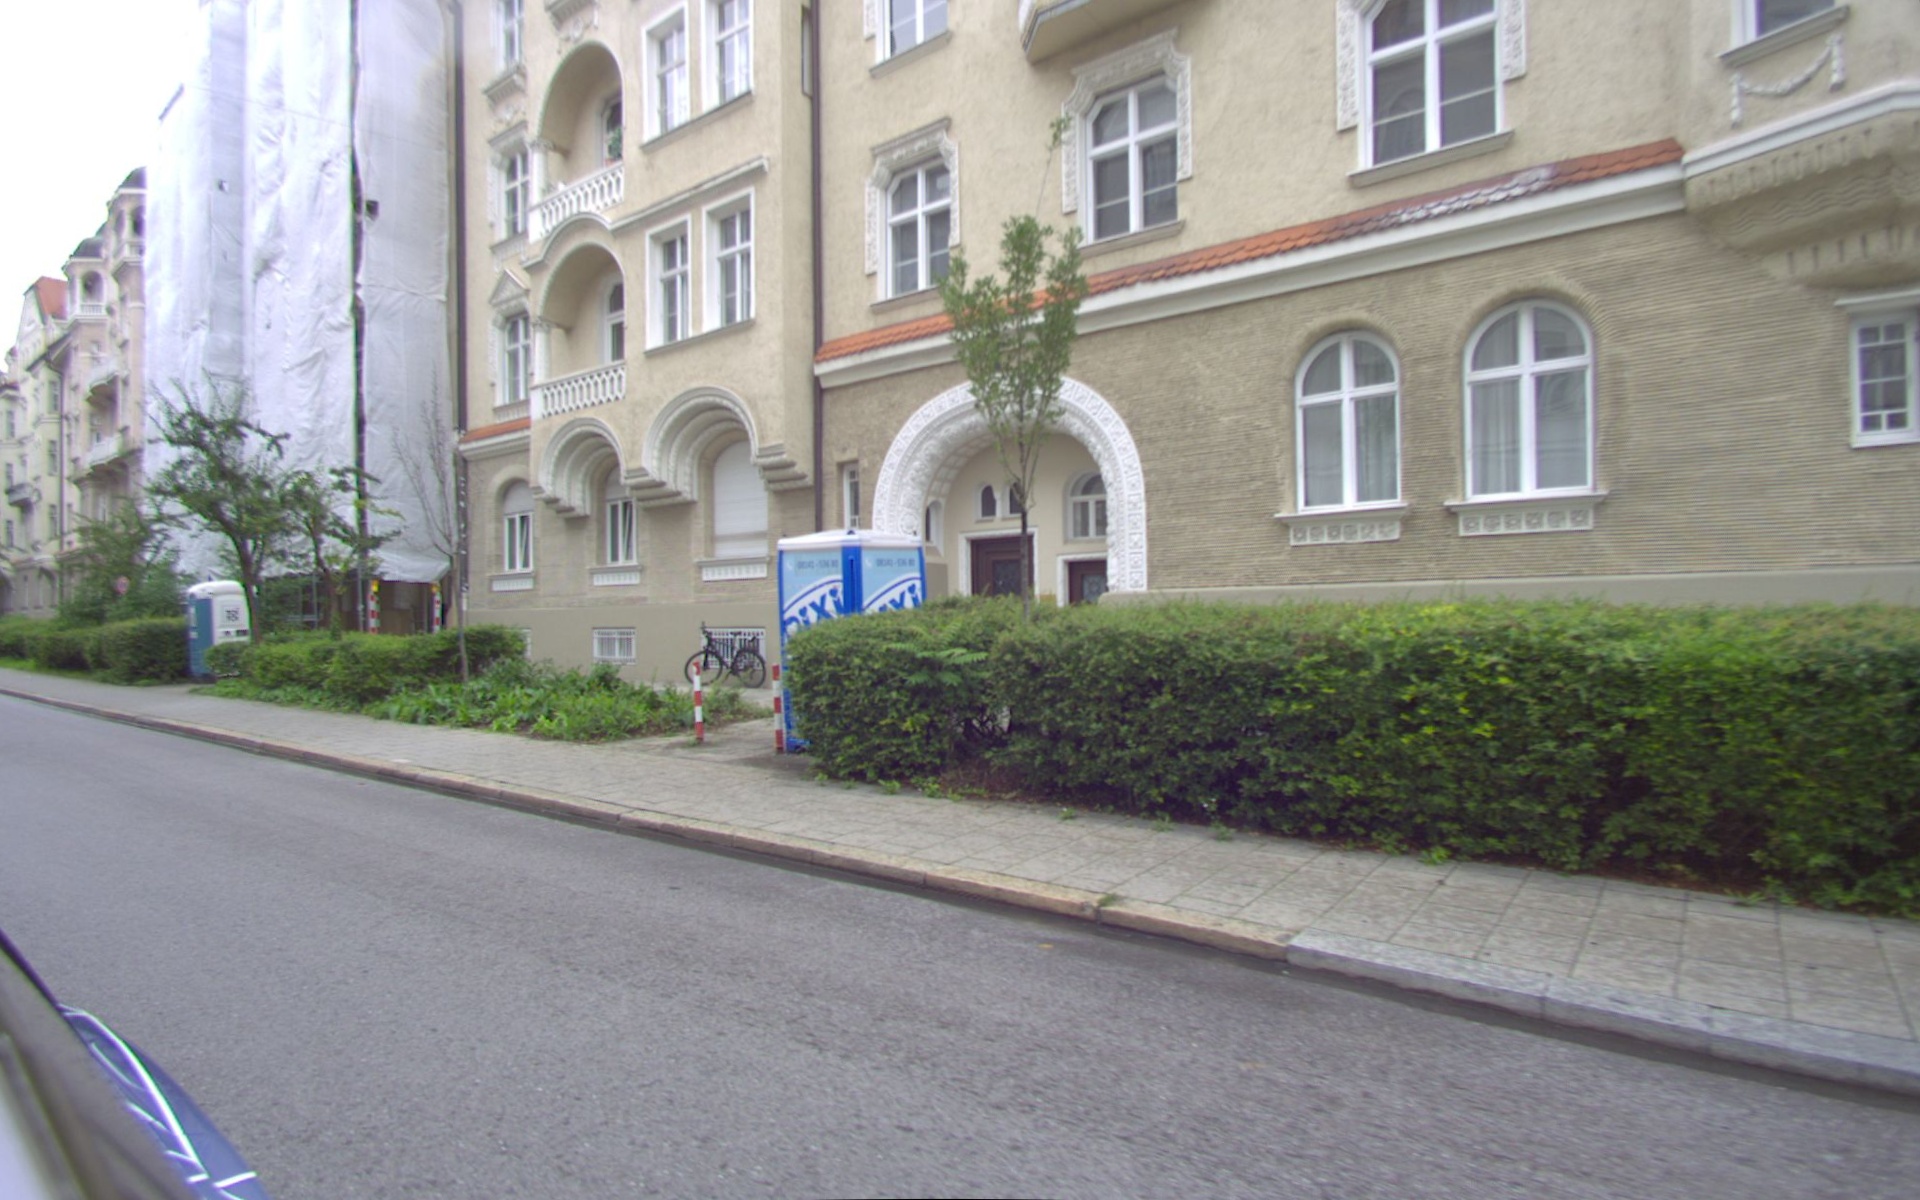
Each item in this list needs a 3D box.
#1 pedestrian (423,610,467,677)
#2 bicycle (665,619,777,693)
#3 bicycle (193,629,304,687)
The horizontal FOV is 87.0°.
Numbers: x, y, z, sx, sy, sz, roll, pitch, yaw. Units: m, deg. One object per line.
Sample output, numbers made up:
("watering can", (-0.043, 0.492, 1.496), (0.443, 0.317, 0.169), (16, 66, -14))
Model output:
("pedestrian", (-13.918, 1.163, 27.352), (0.772, 1.759, 0.762), (-2, 0, 37))
("bicycle", (-4.275, 0.977, 18.015), (2.075, 1.215, 0.813), (-2, 0, 39))
("bicycle", (-15.811, 1.264, 22.532), (0.690, 1.085, 1.841), (-2, 3, 40))
